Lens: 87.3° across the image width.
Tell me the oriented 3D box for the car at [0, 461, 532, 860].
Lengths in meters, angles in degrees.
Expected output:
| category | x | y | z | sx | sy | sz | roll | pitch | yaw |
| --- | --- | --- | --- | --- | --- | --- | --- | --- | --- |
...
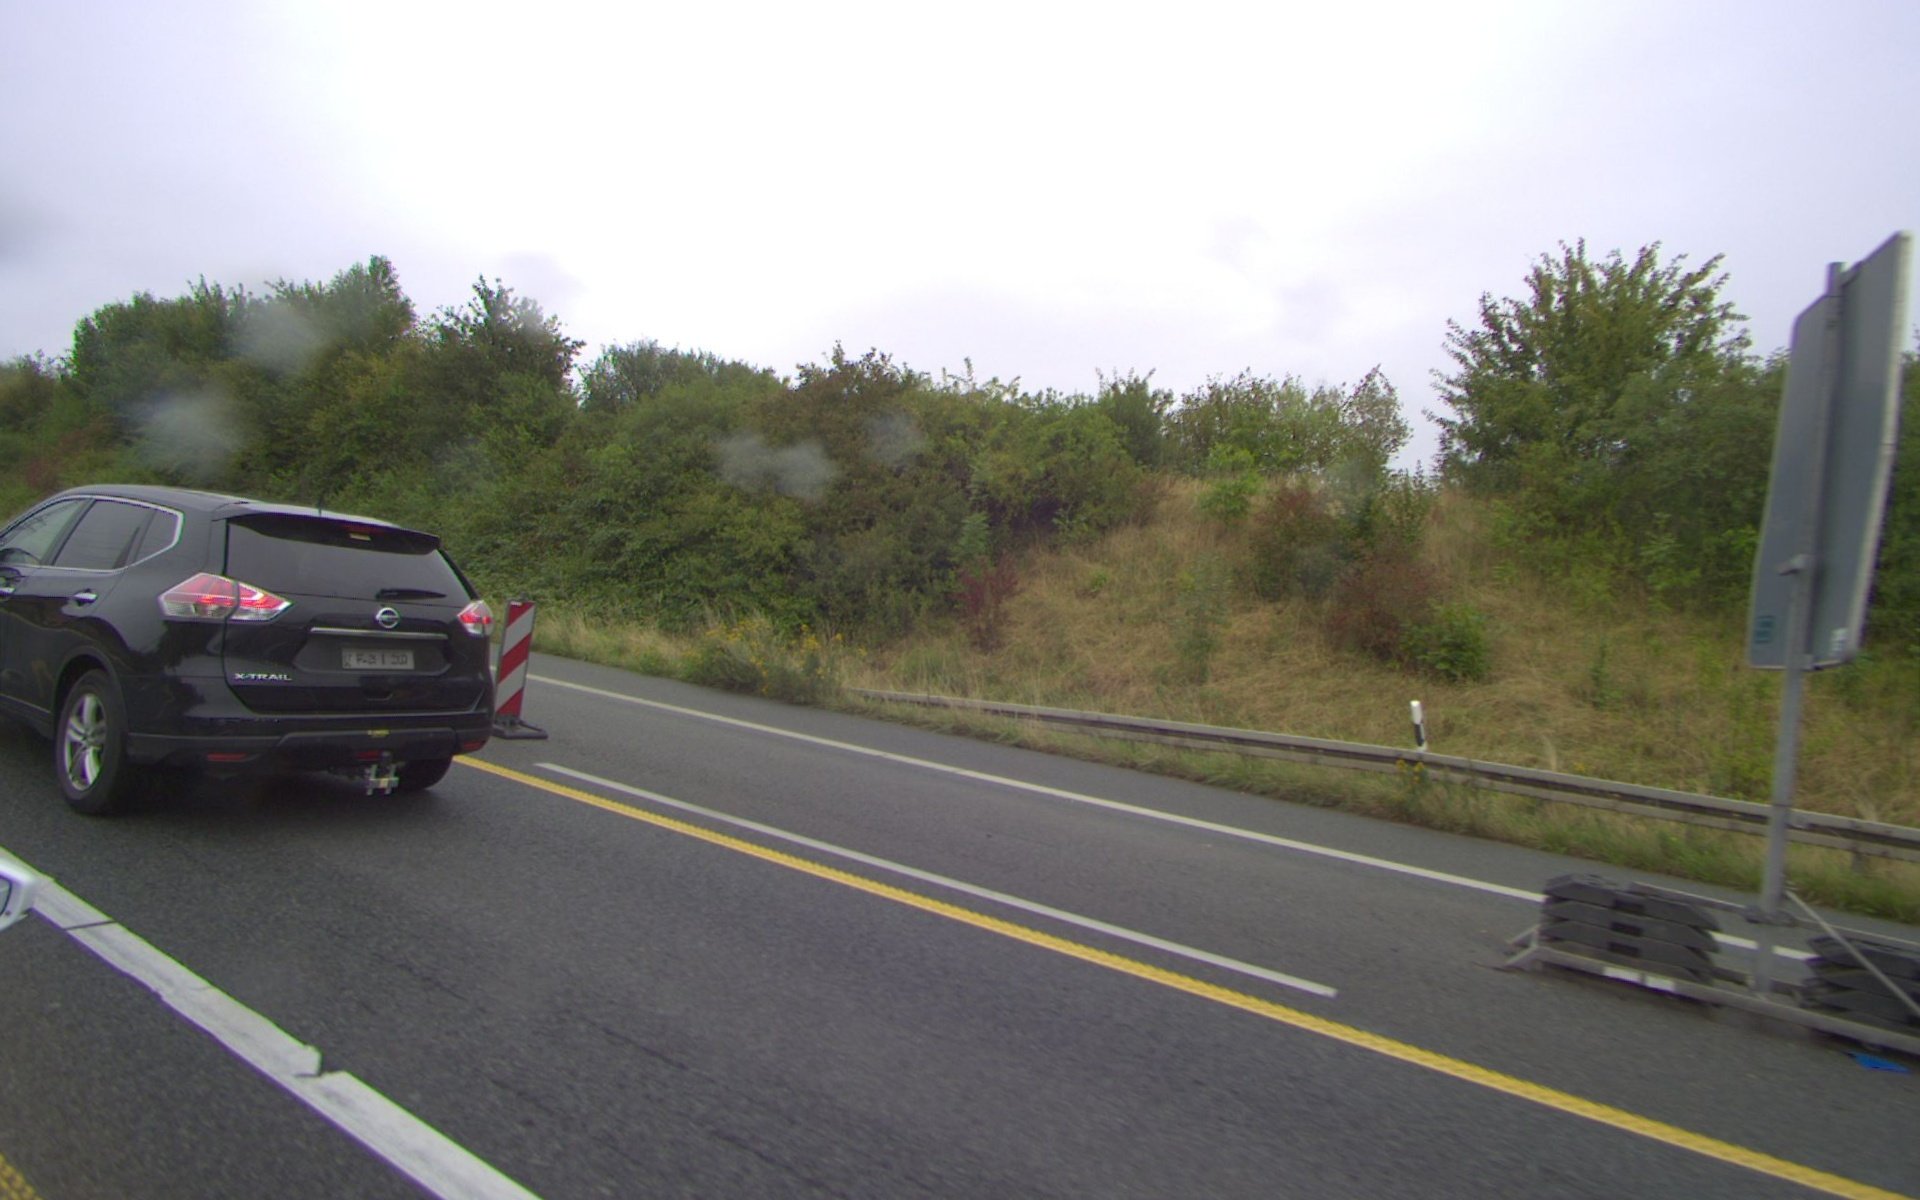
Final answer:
| category | x | y | z | sx | sy | sz | roll | pitch | yaw |
| --- | --- | --- | --- | --- | --- | --- | --- | --- | --- |
| car | -4.805 | 0.161 | 6.167 | 4.208 | 1.678 | 1.688 | 7 | -1 | 30 |
